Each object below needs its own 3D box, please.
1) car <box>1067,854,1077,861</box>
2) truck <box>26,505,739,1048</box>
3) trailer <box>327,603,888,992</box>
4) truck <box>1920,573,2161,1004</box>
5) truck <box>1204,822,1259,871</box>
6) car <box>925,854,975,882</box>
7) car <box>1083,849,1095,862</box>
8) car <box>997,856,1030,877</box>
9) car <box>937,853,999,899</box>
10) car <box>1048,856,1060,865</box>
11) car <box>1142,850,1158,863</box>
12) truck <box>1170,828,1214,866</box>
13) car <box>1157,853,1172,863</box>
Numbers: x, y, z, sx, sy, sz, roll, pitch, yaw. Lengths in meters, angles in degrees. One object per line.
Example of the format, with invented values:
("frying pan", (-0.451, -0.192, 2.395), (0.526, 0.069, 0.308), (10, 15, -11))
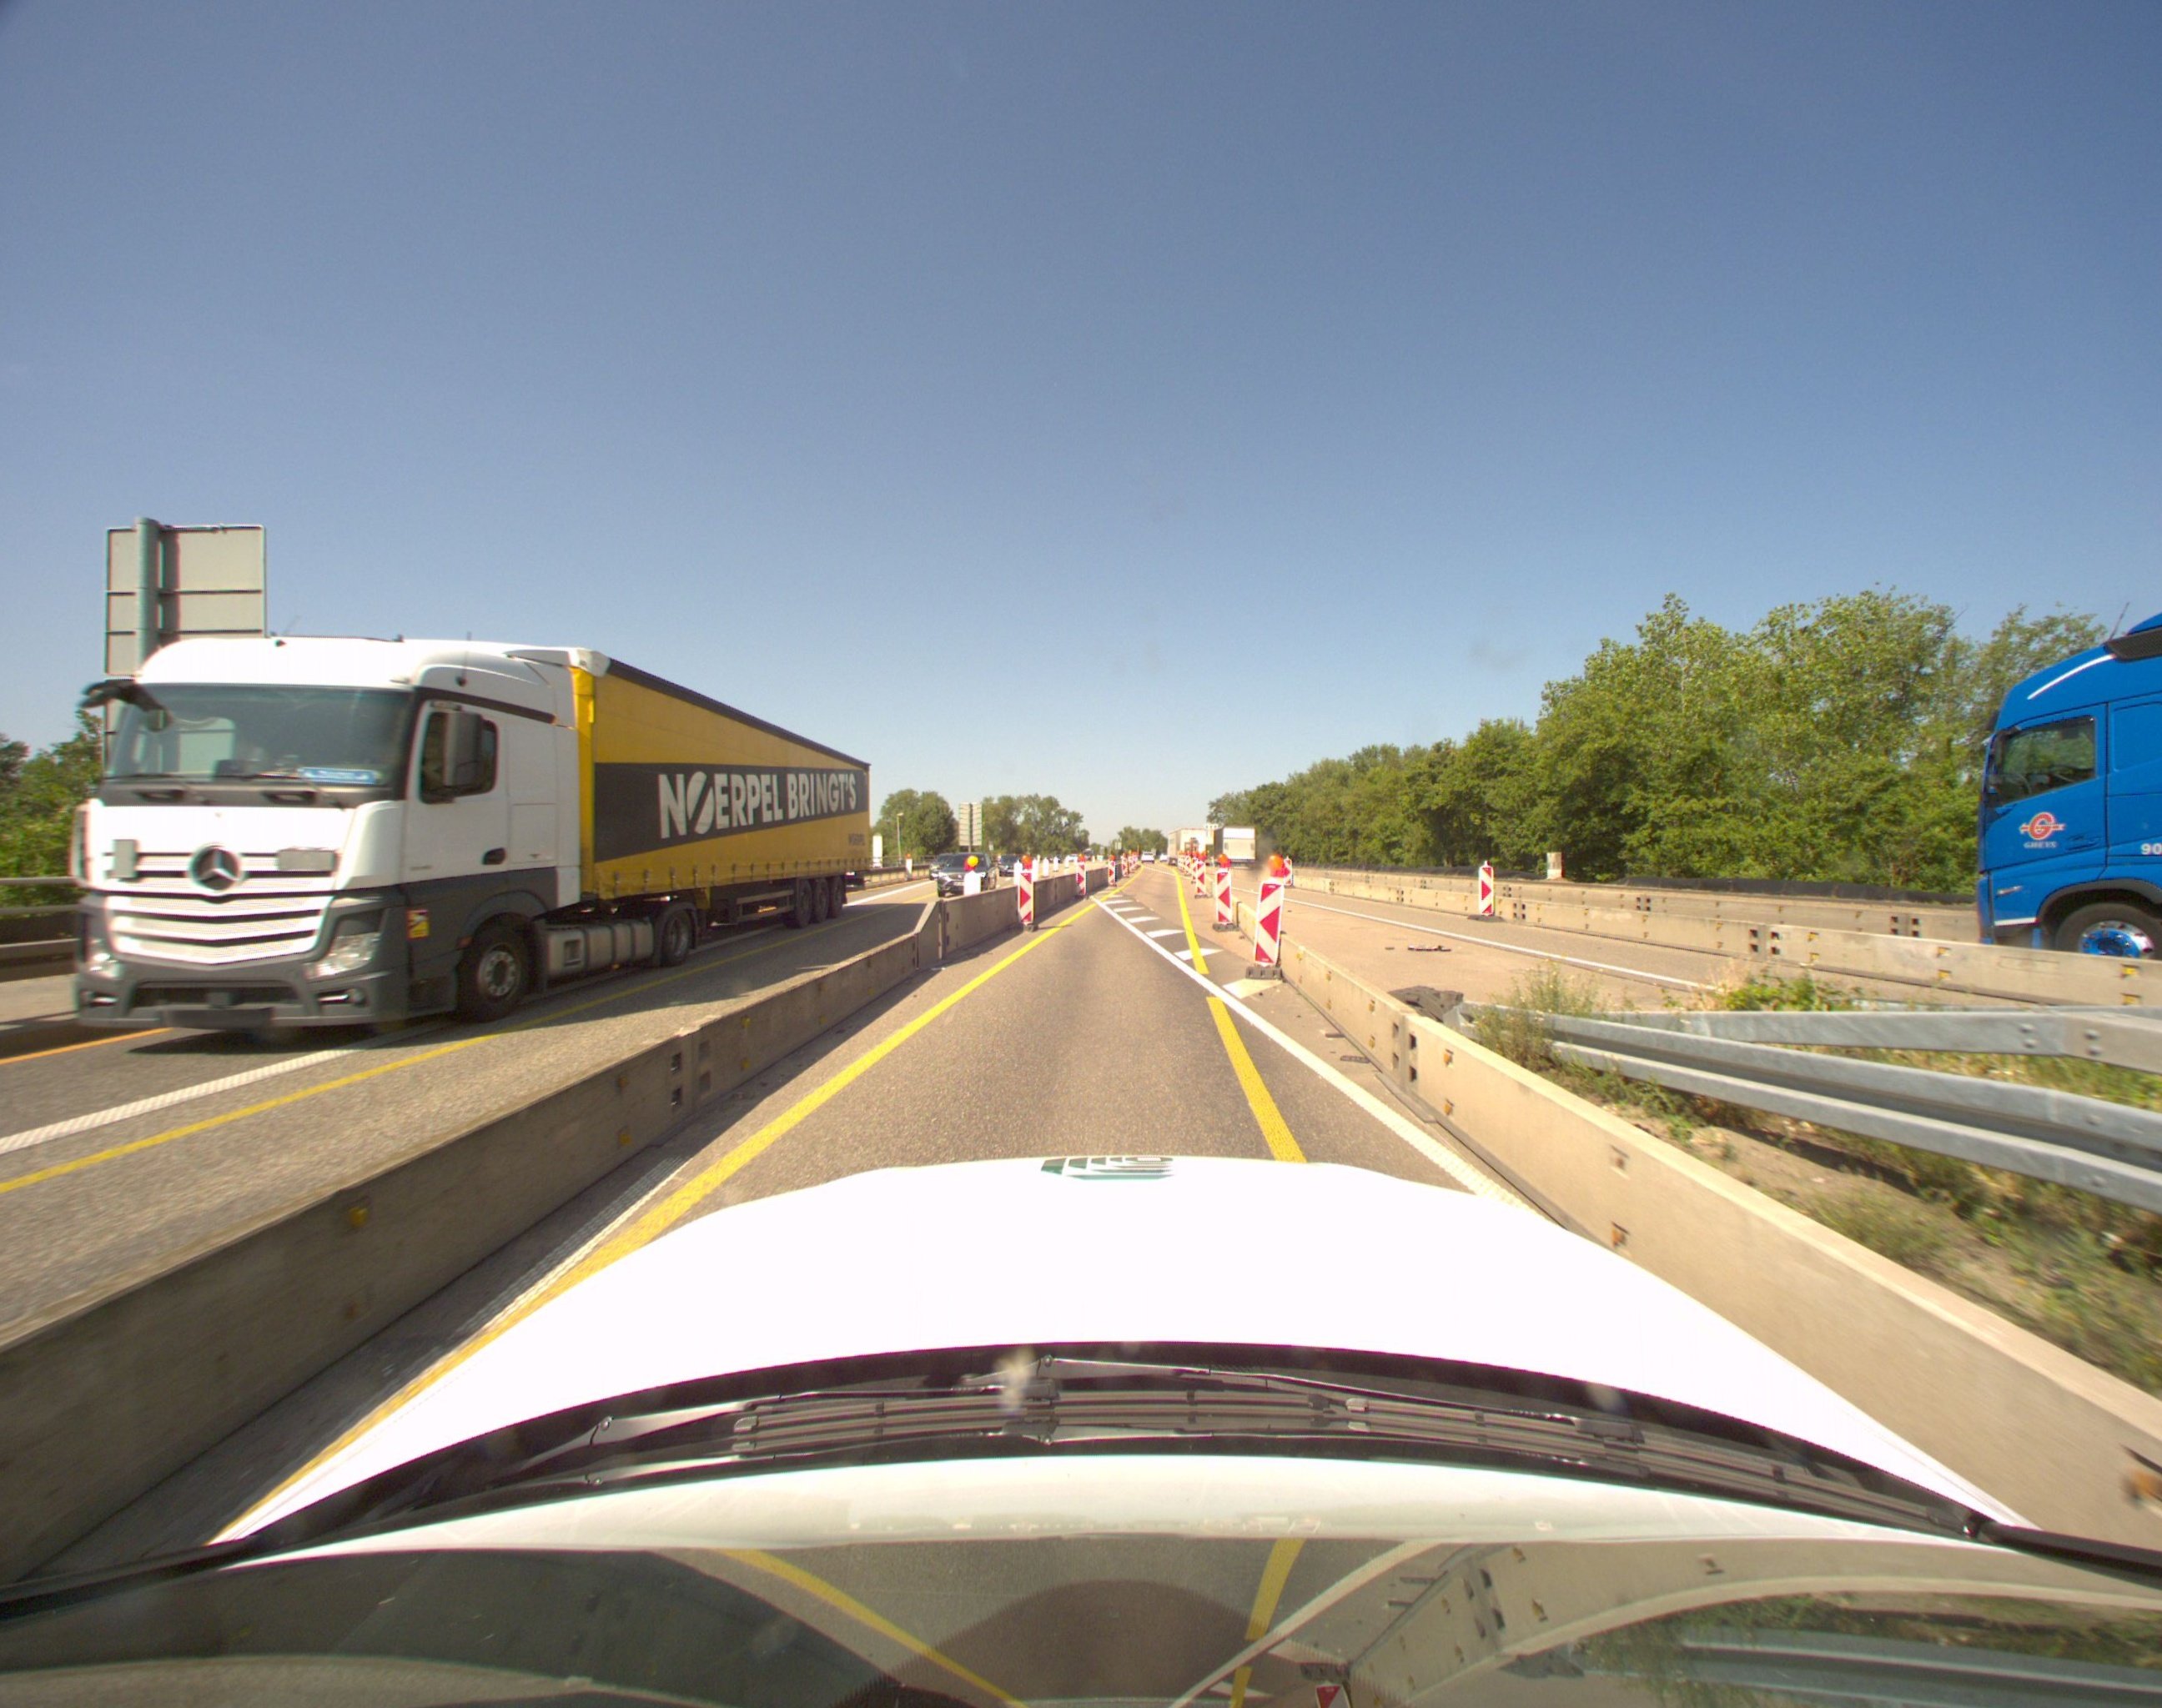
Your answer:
("car", (-1.688, 0.621, 158.076), (1.712, 1.397, 4.522), (1, 0, 2))
("truck", (-6.720, -0.608, 9.482), (2.741, 4.136, 6.412), (-1, 0, -1))
("trailer", (-6.806, -0.601, 16.028), (2.753, 4.136, 14.523), (-1, 0, -1))
("truck", (11.657, -0.652, 6.281), (2.686, 4.102, 7.296), (-1, 0, -1))
("truck", (11.282, -0.553, 61.542), (2.627, 3.427, 7.229), (-1, 0, -1))
("car", (-7.482, 0.768, 46.809), (1.925, 1.508, 4.472), (-1, 0, 3))
("car", (1.776, 0.318, 176.053), (2.136, 2.660, 5.554), (0, 0, 5))
("car", (-4.585, 0.816, 55.828), (1.682, 1.376, 4.276), (-1, 0, 3))
("car", (-4.076, 0.755, 29.952), (1.785, 1.568, 3.870), (-1, 0, -1))
("car", (-4.380, 1.082, 132.836), (1.731, 1.476, 4.646), (-1, 0, 1))
("car", (9.834, 0.380, 115.921), (1.811, 1.776, 3.997), (-1, 0, -1))
("truck", (11.552, -0.700, 85.623), (3.379, 3.774, 7.228), (-1, 0, -1))
("car", (14.660, 0.726, 143.314), (1.988, 1.776, 3.997), (-1, 0, -1))
